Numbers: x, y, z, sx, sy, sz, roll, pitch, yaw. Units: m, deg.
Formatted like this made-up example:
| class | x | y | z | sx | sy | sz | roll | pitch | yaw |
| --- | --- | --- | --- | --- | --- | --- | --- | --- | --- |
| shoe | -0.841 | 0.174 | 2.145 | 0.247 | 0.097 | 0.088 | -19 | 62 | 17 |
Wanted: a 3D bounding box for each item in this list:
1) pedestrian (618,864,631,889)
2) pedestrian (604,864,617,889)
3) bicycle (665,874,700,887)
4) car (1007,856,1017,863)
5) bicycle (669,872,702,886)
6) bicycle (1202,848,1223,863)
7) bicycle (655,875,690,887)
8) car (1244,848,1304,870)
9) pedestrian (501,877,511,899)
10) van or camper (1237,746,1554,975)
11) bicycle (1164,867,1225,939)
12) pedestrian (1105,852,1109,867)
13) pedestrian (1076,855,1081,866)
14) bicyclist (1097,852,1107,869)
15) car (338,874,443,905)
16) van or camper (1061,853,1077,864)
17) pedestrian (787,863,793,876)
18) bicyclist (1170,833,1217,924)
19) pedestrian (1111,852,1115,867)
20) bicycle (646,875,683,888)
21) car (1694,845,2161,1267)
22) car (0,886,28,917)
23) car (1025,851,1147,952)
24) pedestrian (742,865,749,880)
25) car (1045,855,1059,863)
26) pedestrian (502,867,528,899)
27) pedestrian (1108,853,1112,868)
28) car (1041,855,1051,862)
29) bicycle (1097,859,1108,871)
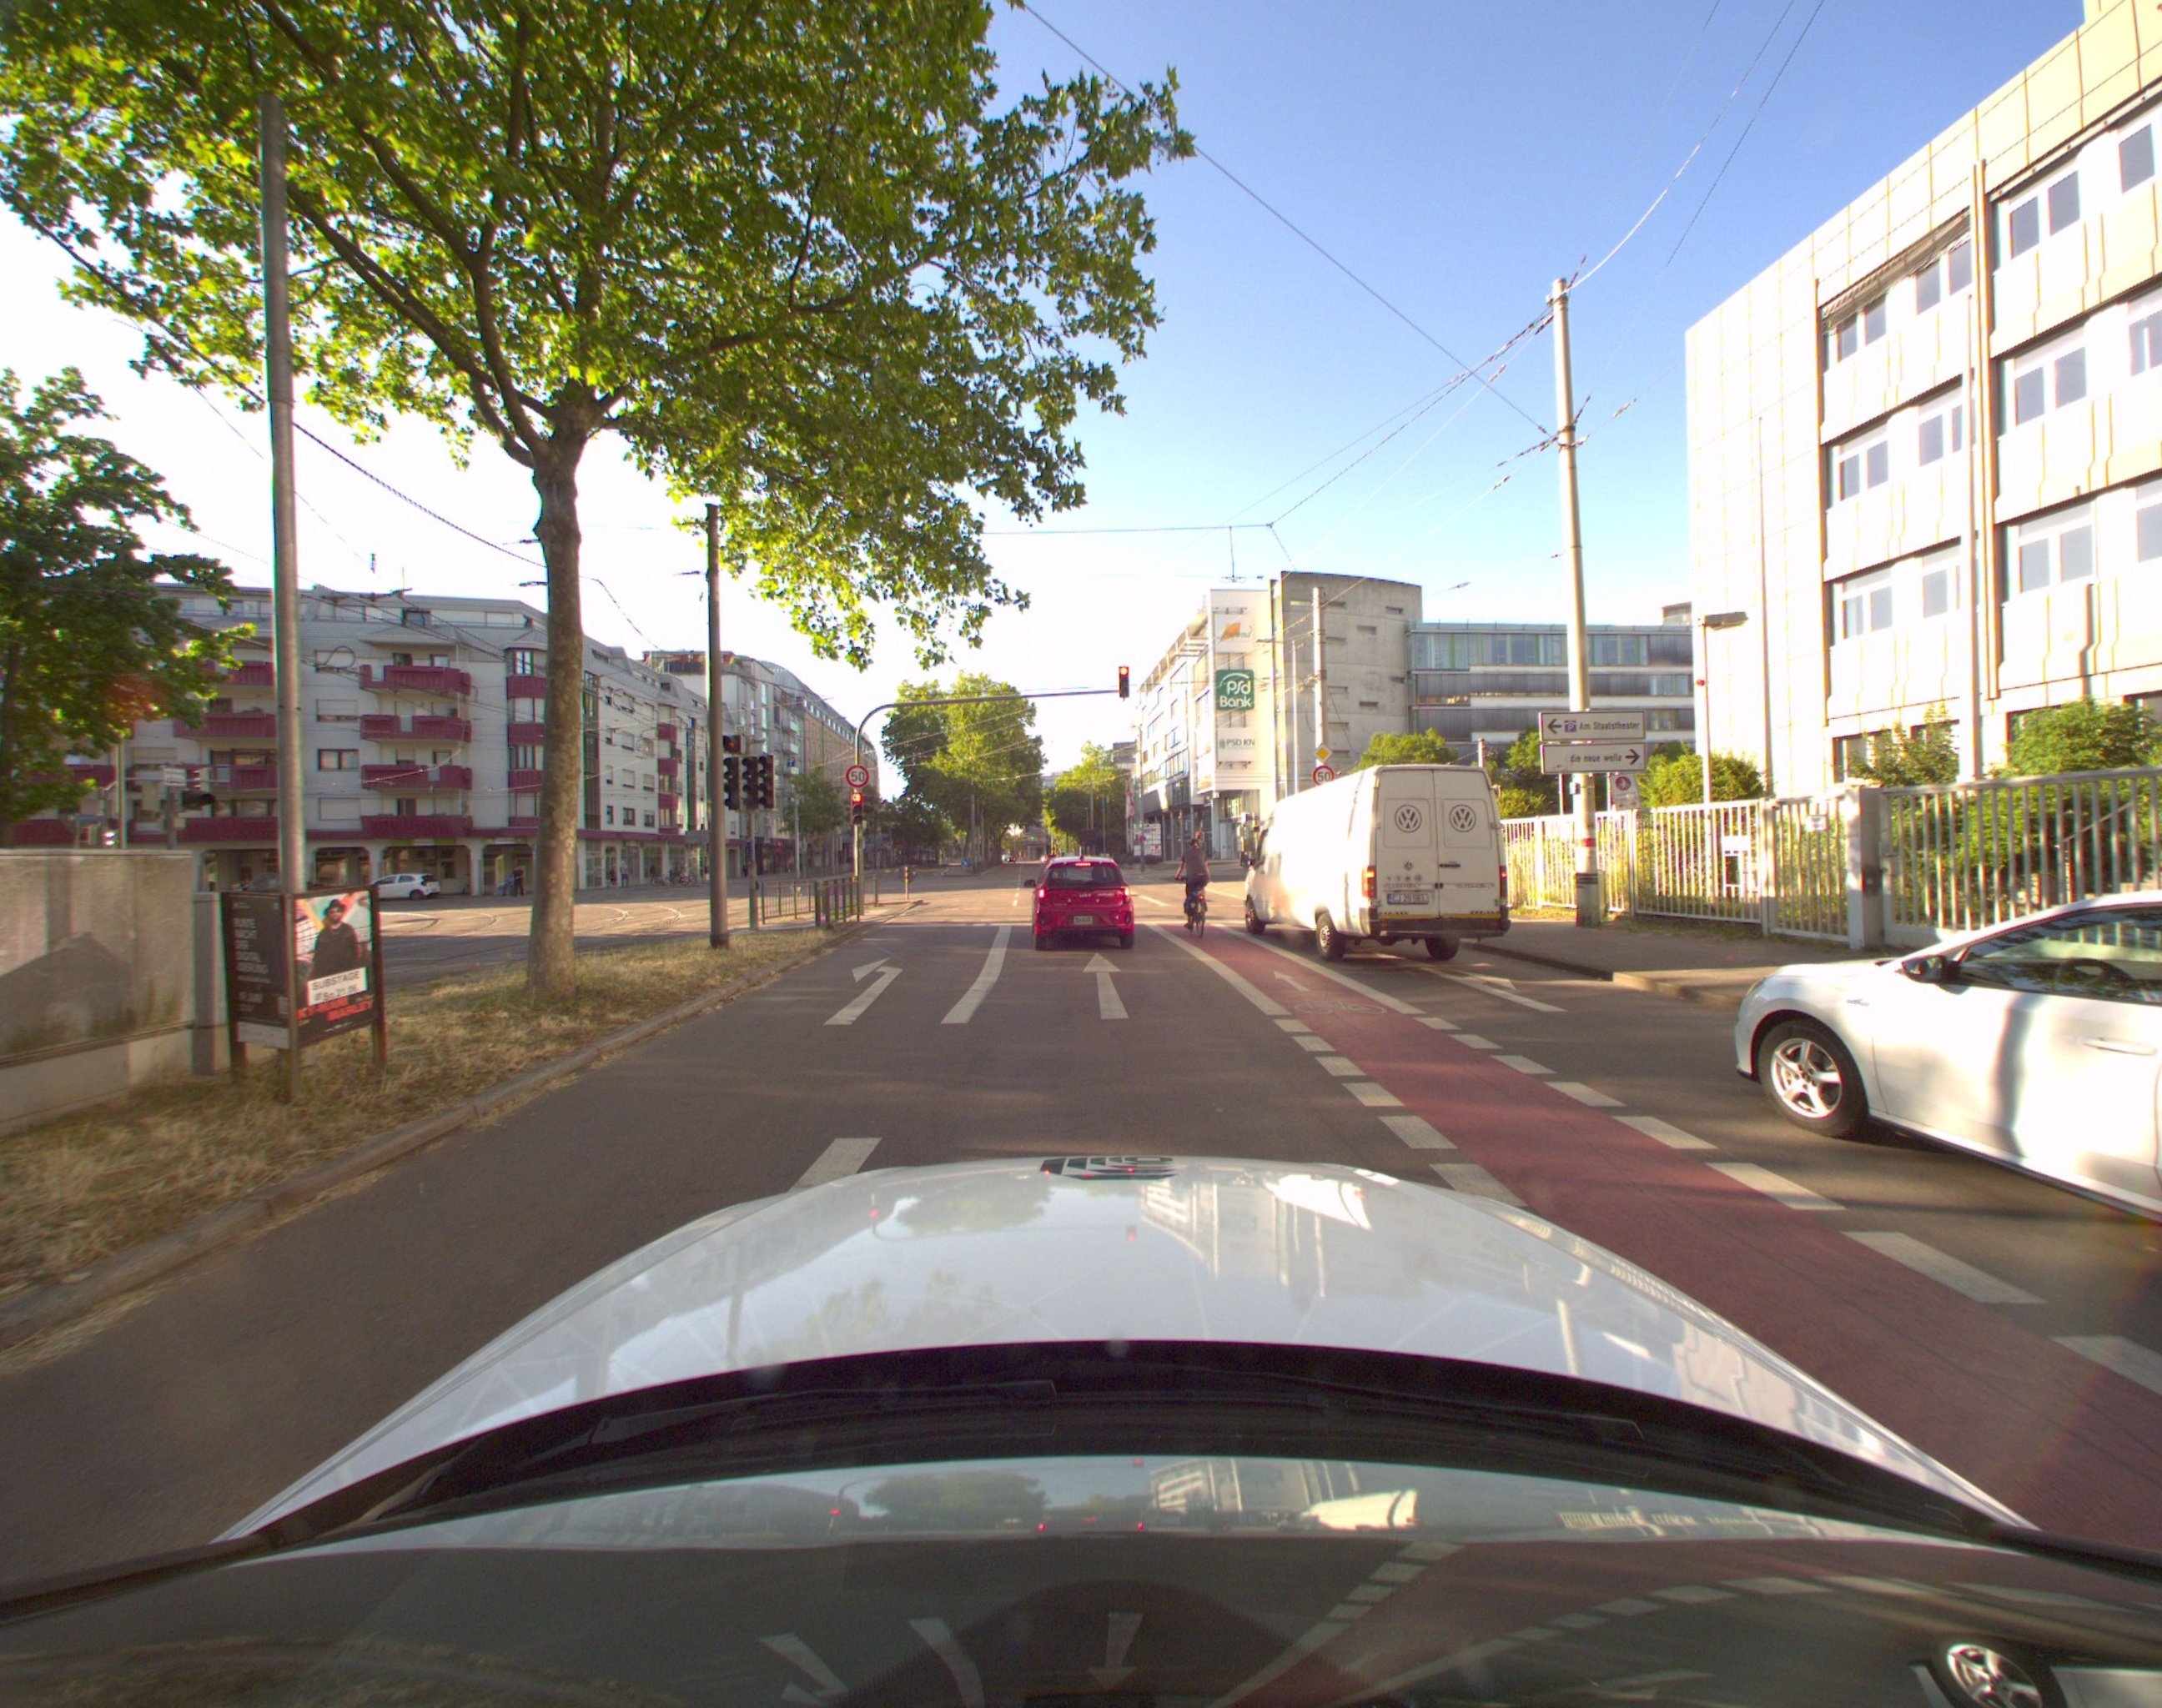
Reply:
| class | x | y | z | sx | sy | sz | roll | pitch | yaw |
| --- | --- | --- | --- | --- | --- | --- | --- | --- | --- |
| pedestrian | -30.860 | 1.512 | 55.054 | 0.510 | 1.699 | 0.527 | -2 | 0 | -7 |
| pedestrian | -31.768 | 1.514 | 54.988 | 0.510 | 1.699 | 0.527 | -2 | 0 | -7 |
| bicycle | -29.124 | 1.927 | 59.558 | 2.168 | 0.824 | 0.526 | -2 | 0 | -8 |
| car | -15.550 | 1.219 | 182.937 | 2.057 | 1.653 | 3.481 | -2 | 0 | -10 |
| bicycle | -29.222 | 1.839 | 60.195 | 2.168 | 0.951 | 0.490 | -2 | 0 | -8 |
| bicycle | 13.362 | 0.187 | 82.655 | 1.932 | 1.443 | 0.574 | -2 | 0 | -6 |
| bicycle | -29.156 | 1.916 | 58.195 | 2.168 | 0.787 | 0.490 | -2 | 0 | -8 |
| car | 15.158 | 0.362 | 64.117 | 4.255 | 1.568 | 1.845 | -2 | 0 | -7 |
| pedestrian | -33.425 | 1.973 | 47.342 | 0.303 | 1.214 | 0.317 | -2 | 0 | -10 |
| van or camper | 4.418 | 0.083 | 12.988 | 2.264 | 2.733 | 6.338 | 1 | 0 | -4 |
| bicycle | 2.106 | 0.885 | 15.452 | 0.742 | 1.224 | 2.153 | 0 | 0 | -3 |
| pedestrian | 2.680 | 0.562 | 85.241 | 0.294 | 1.562 | 0.301 | -2 | 0 | -14 |
| pedestrian | -0.406 | 0.956 | 124.742 | 0.742 | 1.716 | 0.746 | -2 | 0 | -7 |
| bicyclist | 2.077 | 0.653 | 80.774 | 0.784 | 1.635 | 0.637 | -2 | 0 | -7 |
| car | -38.159 | 1.948 | 45.102 | 3.996 | 1.464 | 1.792 | -3 | 0 | -17 |
| van or camper | -2.066 | 0.711 | 139.719 | 2.144 | 1.750 | 4.420 | -2 | 0 | -7 |
| pedestrian | -34.274 | 1.839 | 95.936 | 0.510 | 1.459 | 0.527 | -2 | 0 | -7 |
| bicyclist | 2.108 | 0.446 | 15.324 | 0.742 | 1.669 | 0.744 | 0 | 0 | -4 |
| pedestrian | 3.351 | 0.555 | 85.656 | 0.293 | 1.562 | 0.314 | -2 | 0 | -4 |
| bicycle | -29.349 | 1.925 | 57.414 | 2.168 | 0.787 | 0.639 | -2 | 0 | -8 |
| car | 4.761 | 0.713 | 3.193 | 1.795 | 1.501 | 3.983 | -1 | 0 | 2 |
| car | -56.069 | 2.486 | 40.635 | 3.994 | 1.464 | 1.793 | -3 | 0 | -15 |
| car | -0.041 | 0.725 | 14.440 | 1.836 | 1.489 | 3.710 | -2 | 0 | -4 |
| pedestrian | -33.404 | 1.835 | 80.977 | 0.511 | 1.459 | 0.526 | -2 | 0 | -13 |
| car | -6.104 | 1.031 | 171.905 | 2.475 | 1.528 | 4.422 | -2 | 0 | -6 |
| pedestrian | -30.798 | 1.578 | 44.345 | 0.708 | 1.662 | 1.030 | -2 | 0 | -9 |
| pedestrian | 3.009 | 0.704 | 85.417 | 0.294 | 1.562 | 0.354 | -2 | 0 | -14 |
| car | -8.099 | 0.959 | 187.623 | 1.883 | 1.528 | 4.420 | -2 | 0 | -7 |
| bicycle | 2.108 | 1.062 | 80.658 | 0.791 | 1.161 | 2.494 | -2 | 0 | -6 |
